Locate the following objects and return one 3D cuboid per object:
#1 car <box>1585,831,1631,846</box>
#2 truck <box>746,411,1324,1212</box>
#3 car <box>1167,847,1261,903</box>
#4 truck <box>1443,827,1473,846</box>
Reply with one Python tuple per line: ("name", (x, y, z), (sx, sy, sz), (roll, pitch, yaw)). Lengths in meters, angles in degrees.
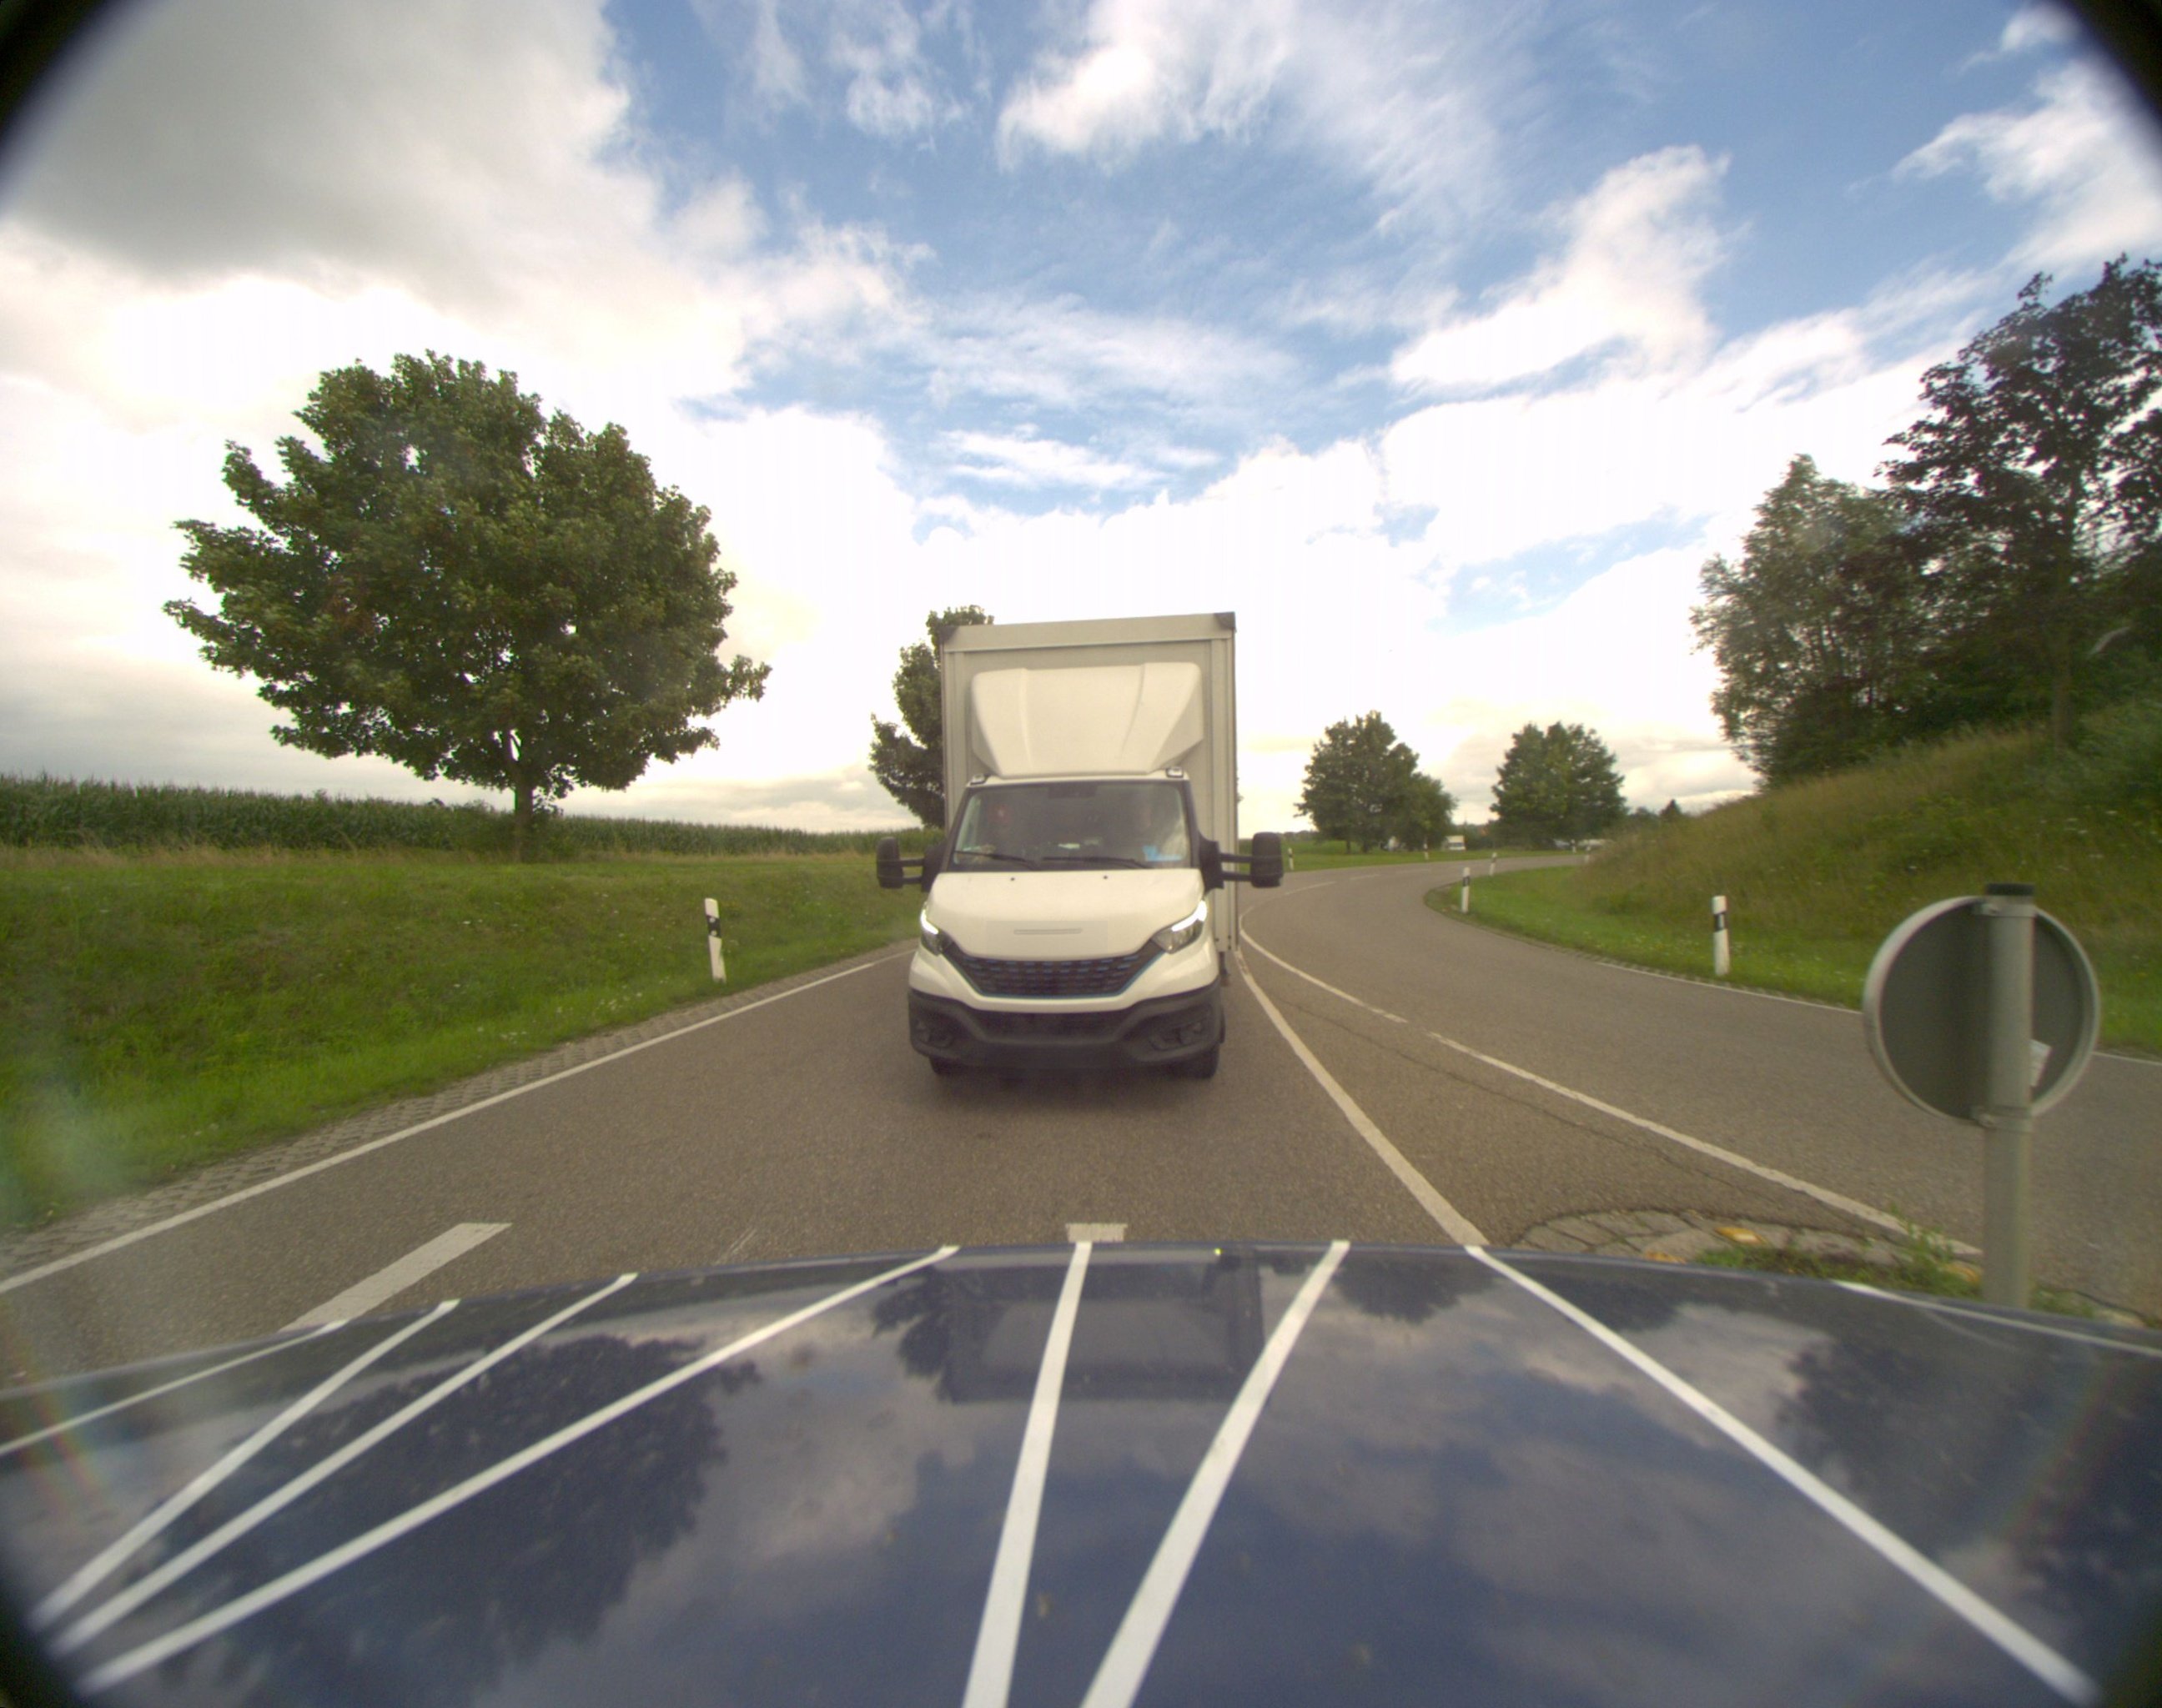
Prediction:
("car", (63.981, -1.887, 92.330), (4.393, 1.576, 2.003), (-1, 0, 26))
("truck", (0.334, -0.261, 8.100), (2.835, 3.742, 8.803), (-1, 1, 8))
("car", (3.945, 0.554, 21.996), (1.747, 1.457, 4.006), (-2, 0, 23))
("truck", (49.727, -2.262, 100.372), (2.288, 2.407, 6.389), (-2, 0, 15))
